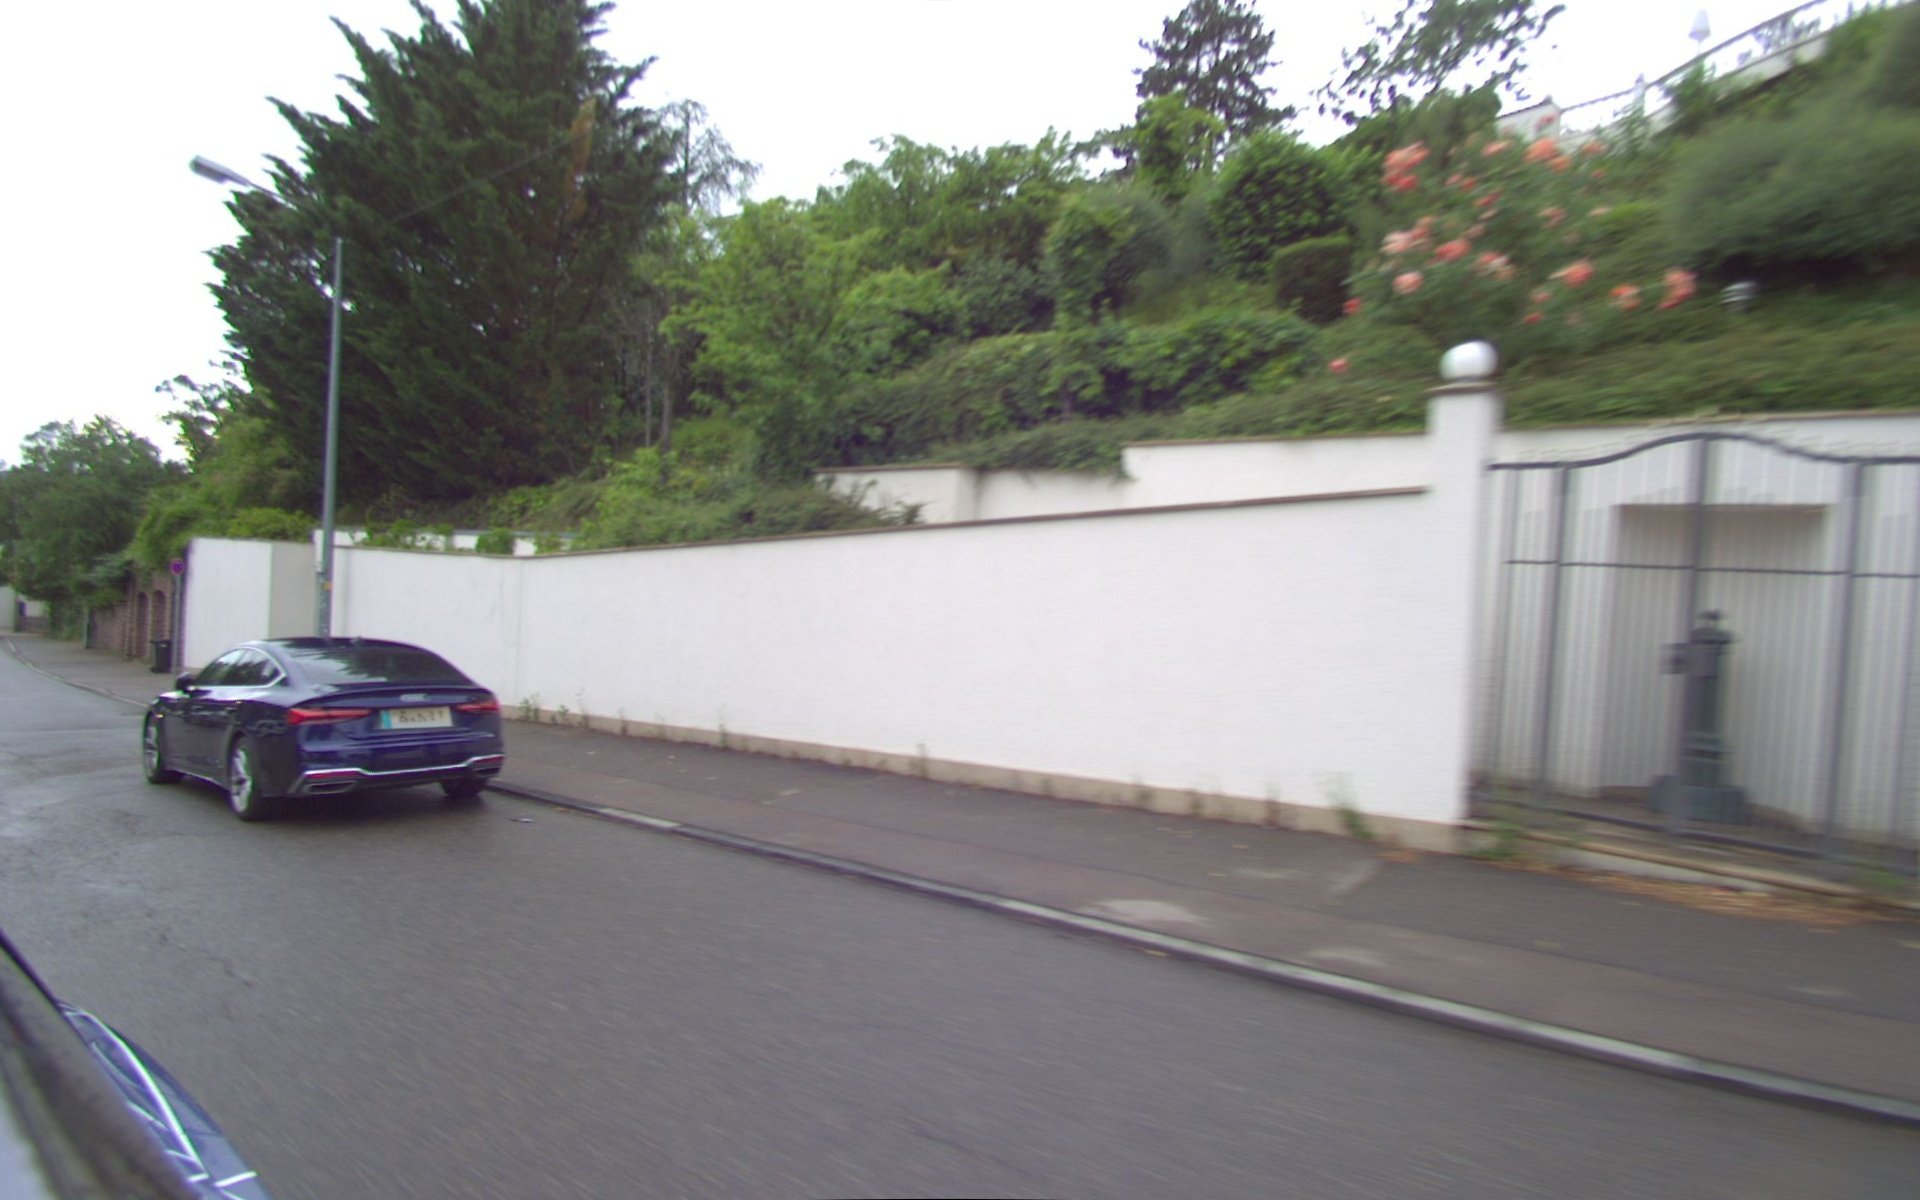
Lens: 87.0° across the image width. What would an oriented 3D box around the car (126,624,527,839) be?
[{"bbox_3d":[-5.735,0.943,8.946,4.251,1.441,1.789,-1,-2,40],"label":"car"}]
